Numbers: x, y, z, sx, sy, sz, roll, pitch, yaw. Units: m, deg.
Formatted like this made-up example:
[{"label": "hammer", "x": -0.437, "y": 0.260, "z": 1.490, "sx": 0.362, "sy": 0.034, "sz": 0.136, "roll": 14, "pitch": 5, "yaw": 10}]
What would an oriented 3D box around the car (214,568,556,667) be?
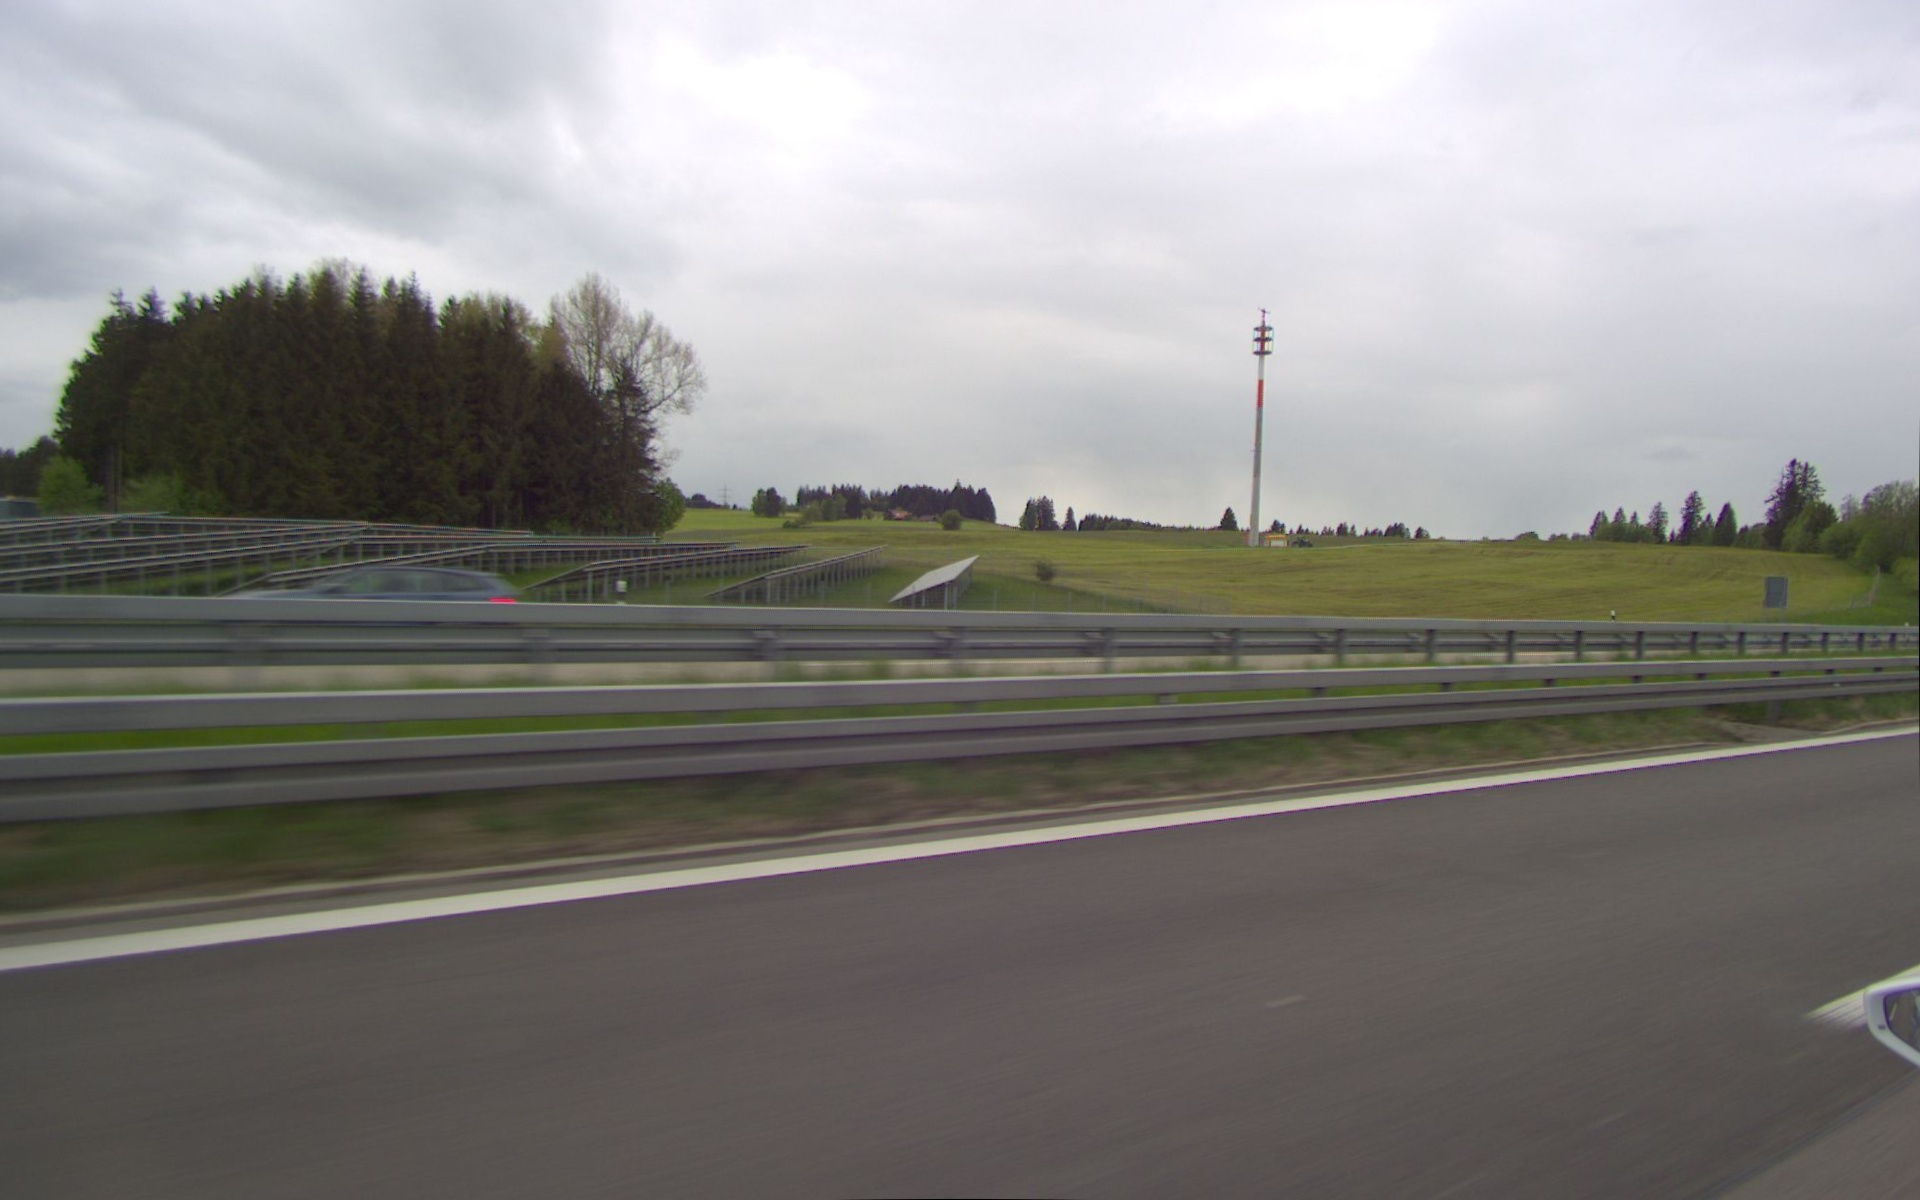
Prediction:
[{"label": "car", "x": -9.886, "y": 0.280, "z": 17.624, "sx": 4.943, "sy": 1.459, "sz": 1.983, "roll": 1, "pitch": 3, "yaw": -31}]
